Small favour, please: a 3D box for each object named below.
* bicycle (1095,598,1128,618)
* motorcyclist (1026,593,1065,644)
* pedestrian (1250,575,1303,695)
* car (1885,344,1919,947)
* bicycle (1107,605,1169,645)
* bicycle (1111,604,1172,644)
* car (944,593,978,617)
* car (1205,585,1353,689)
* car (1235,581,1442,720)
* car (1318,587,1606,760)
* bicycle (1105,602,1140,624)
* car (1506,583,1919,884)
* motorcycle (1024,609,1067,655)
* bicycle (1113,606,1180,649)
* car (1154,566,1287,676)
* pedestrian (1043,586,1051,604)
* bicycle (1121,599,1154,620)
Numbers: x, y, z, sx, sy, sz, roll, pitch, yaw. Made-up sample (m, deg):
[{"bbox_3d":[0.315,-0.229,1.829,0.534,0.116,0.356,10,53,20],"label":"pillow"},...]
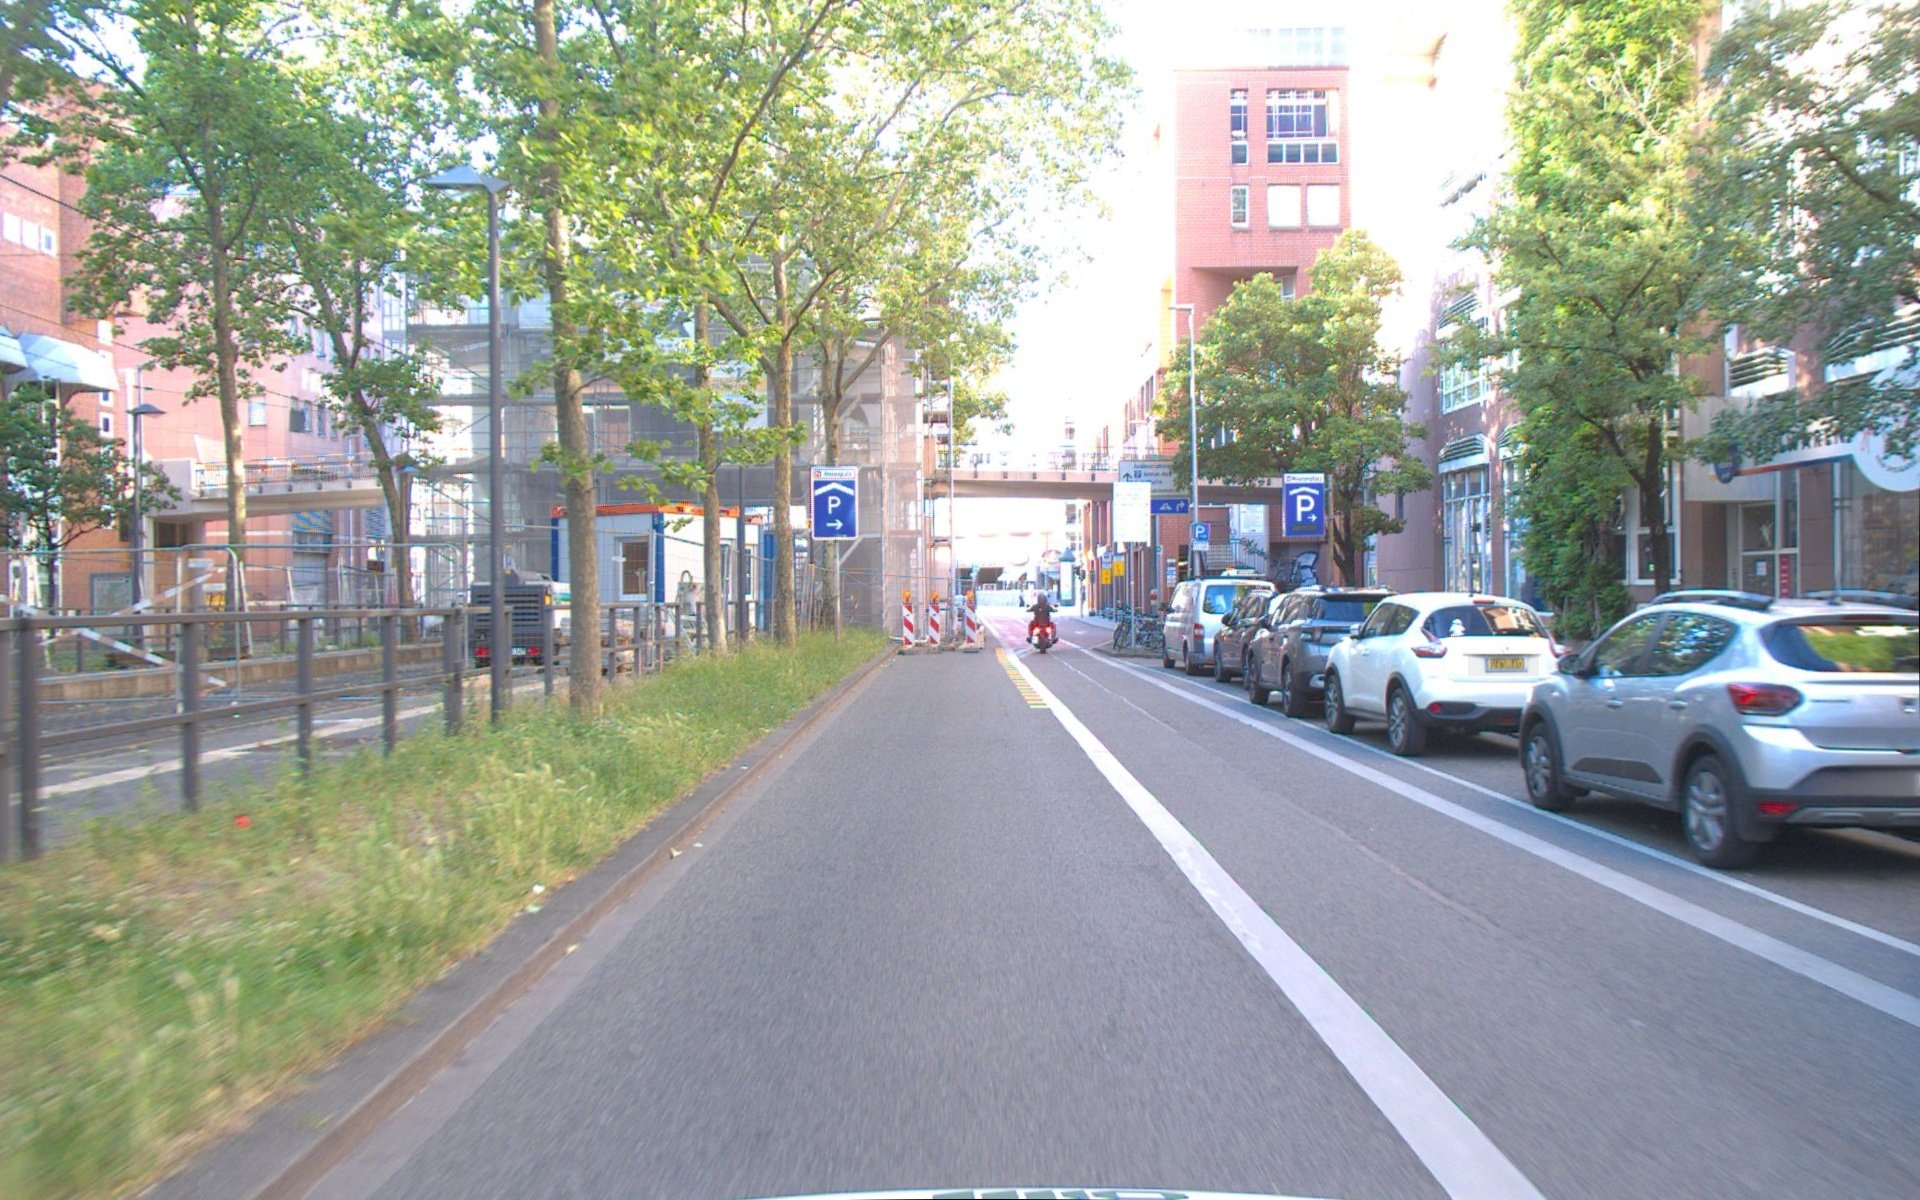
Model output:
[{"bbox_3d":[8.694,0.455,94.993,1.853,1.138,0.475,-1,0,-1],"label":"bicycle"},{"bbox_3d":[2.309,0.492,44.819,0.950,1.370,1.137,1,0,-1],"label":"motorcyclist"},{"bbox_3d":[4.981,0.539,26.064,0.647,1.844,0.715,-1,0,-2],"label":"pedestrian"},{"bbox_3d":[5.194,0.208,4.459,2.071,2.610,5.905,-1,0,0],"label":"car"},{"bbox_3d":[4.849,0.675,45.207,1.648,1.086,0.499,0,0,34],"label":"bicycle"},{"bbox_3d":[5.061,0.670,46.099,1.648,1.086,0.499,0,0,34],"label":"bicycle"},{"bbox_3d":[0.040,0.276,99.638,1.884,1.413,3.999,-1,0,-1],"label":"car"},{"bbox_3d":[5.536,0.592,29.192,1.751,1.699,4.199,-1,0,-1],"label":"car"},{"bbox_3d":[5.038,0.606,22.633,1.751,1.699,4.439,-1,0,-1],"label":"car"},{"bbox_3d":[5.154,0.673,17.556,1.791,1.606,3.999,-1,0,-1],"label":"car"},{"bbox_3d":[8.973,0.712,91.129,1.853,1.138,0.550,-1,0,-1],"label":"bicycle"},{"bbox_3d":[5.189,0.700,10.910,1.791,1.606,3.999,-1,0,-1],"label":"car"},{"bbox_3d":[2.306,0.846,44.907,0.953,1.151,2.804,1,0,-1],"label":"motorcycle"},{"bbox_3d":[4.838,0.702,42.968,1.643,1.086,0.511,0,0,23],"label":"bicycle"},{"bbox_3d":[5.334,0.391,34.570,1.879,2.115,5.169,-1,0,-1],"label":"car"},{"bbox_3d":[7.919,-0.440,150.813,0.537,1.611,0.548,-1,0,-43],"label":"pedestrian"},{"bbox_3d":[9.015,0.502,84.039,1.578,0.971,0.555,-3,0,1],"label":"bicycle"}]
